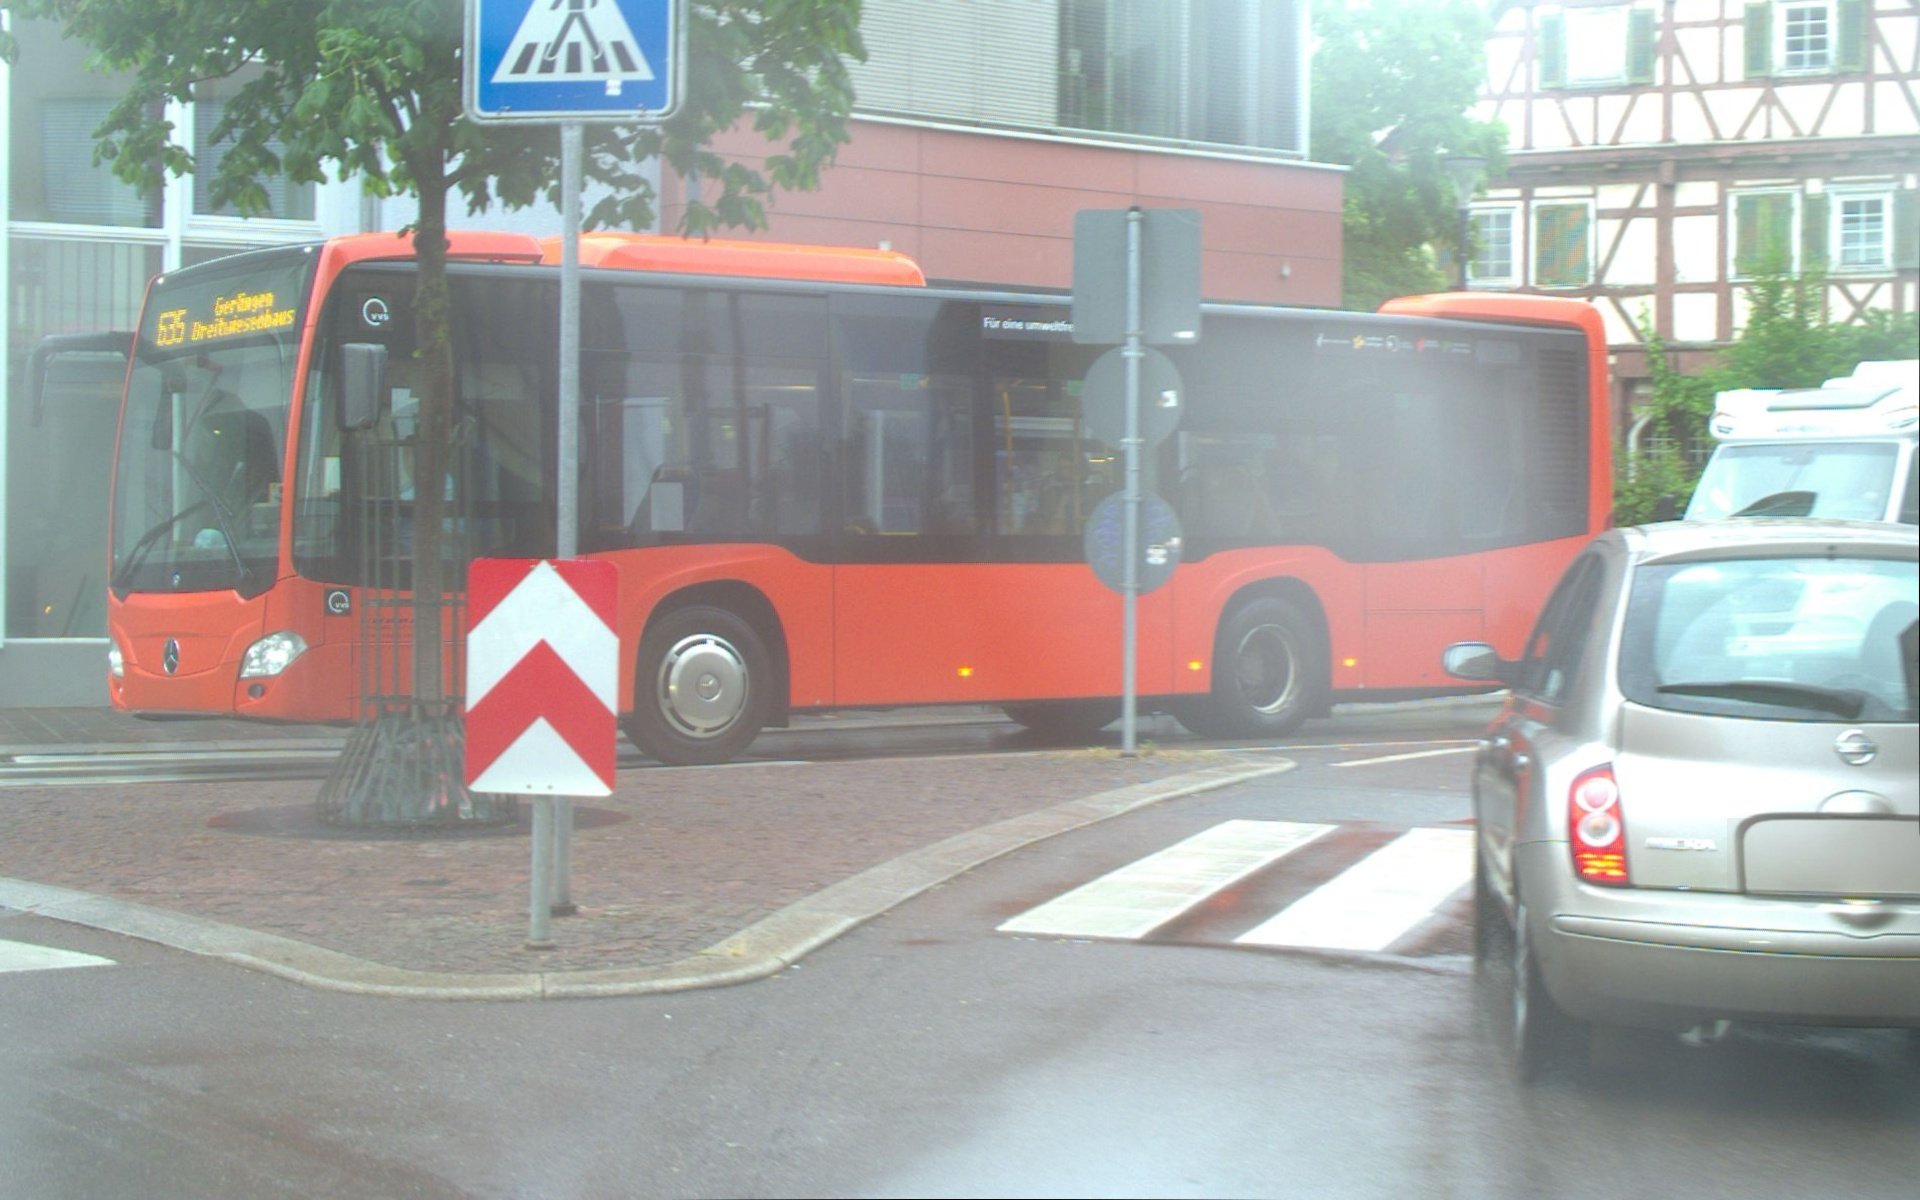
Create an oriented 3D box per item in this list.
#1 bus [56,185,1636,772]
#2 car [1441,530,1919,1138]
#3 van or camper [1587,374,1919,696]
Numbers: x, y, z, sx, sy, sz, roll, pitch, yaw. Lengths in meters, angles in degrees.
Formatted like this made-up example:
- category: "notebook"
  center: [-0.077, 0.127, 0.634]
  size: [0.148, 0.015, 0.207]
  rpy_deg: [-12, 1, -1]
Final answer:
- category: "bus"
  center: [-0.263, -0.643, 22.356]
  size: [10.575, 3.078, 2.821]
  rpy_deg: [0, -1, -38]
- category: "car"
  center: [2.321, 0.542, 10.115]
  size: [1.522, 1.466, 3.341]
  rpy_deg: [0, 2, 3]
- category: "van or camper"
  center: [8.210, -0.657, 30.991]
  size: [2.443, 2.576, 6.738]
  rpy_deg: [2, 3, 35]
